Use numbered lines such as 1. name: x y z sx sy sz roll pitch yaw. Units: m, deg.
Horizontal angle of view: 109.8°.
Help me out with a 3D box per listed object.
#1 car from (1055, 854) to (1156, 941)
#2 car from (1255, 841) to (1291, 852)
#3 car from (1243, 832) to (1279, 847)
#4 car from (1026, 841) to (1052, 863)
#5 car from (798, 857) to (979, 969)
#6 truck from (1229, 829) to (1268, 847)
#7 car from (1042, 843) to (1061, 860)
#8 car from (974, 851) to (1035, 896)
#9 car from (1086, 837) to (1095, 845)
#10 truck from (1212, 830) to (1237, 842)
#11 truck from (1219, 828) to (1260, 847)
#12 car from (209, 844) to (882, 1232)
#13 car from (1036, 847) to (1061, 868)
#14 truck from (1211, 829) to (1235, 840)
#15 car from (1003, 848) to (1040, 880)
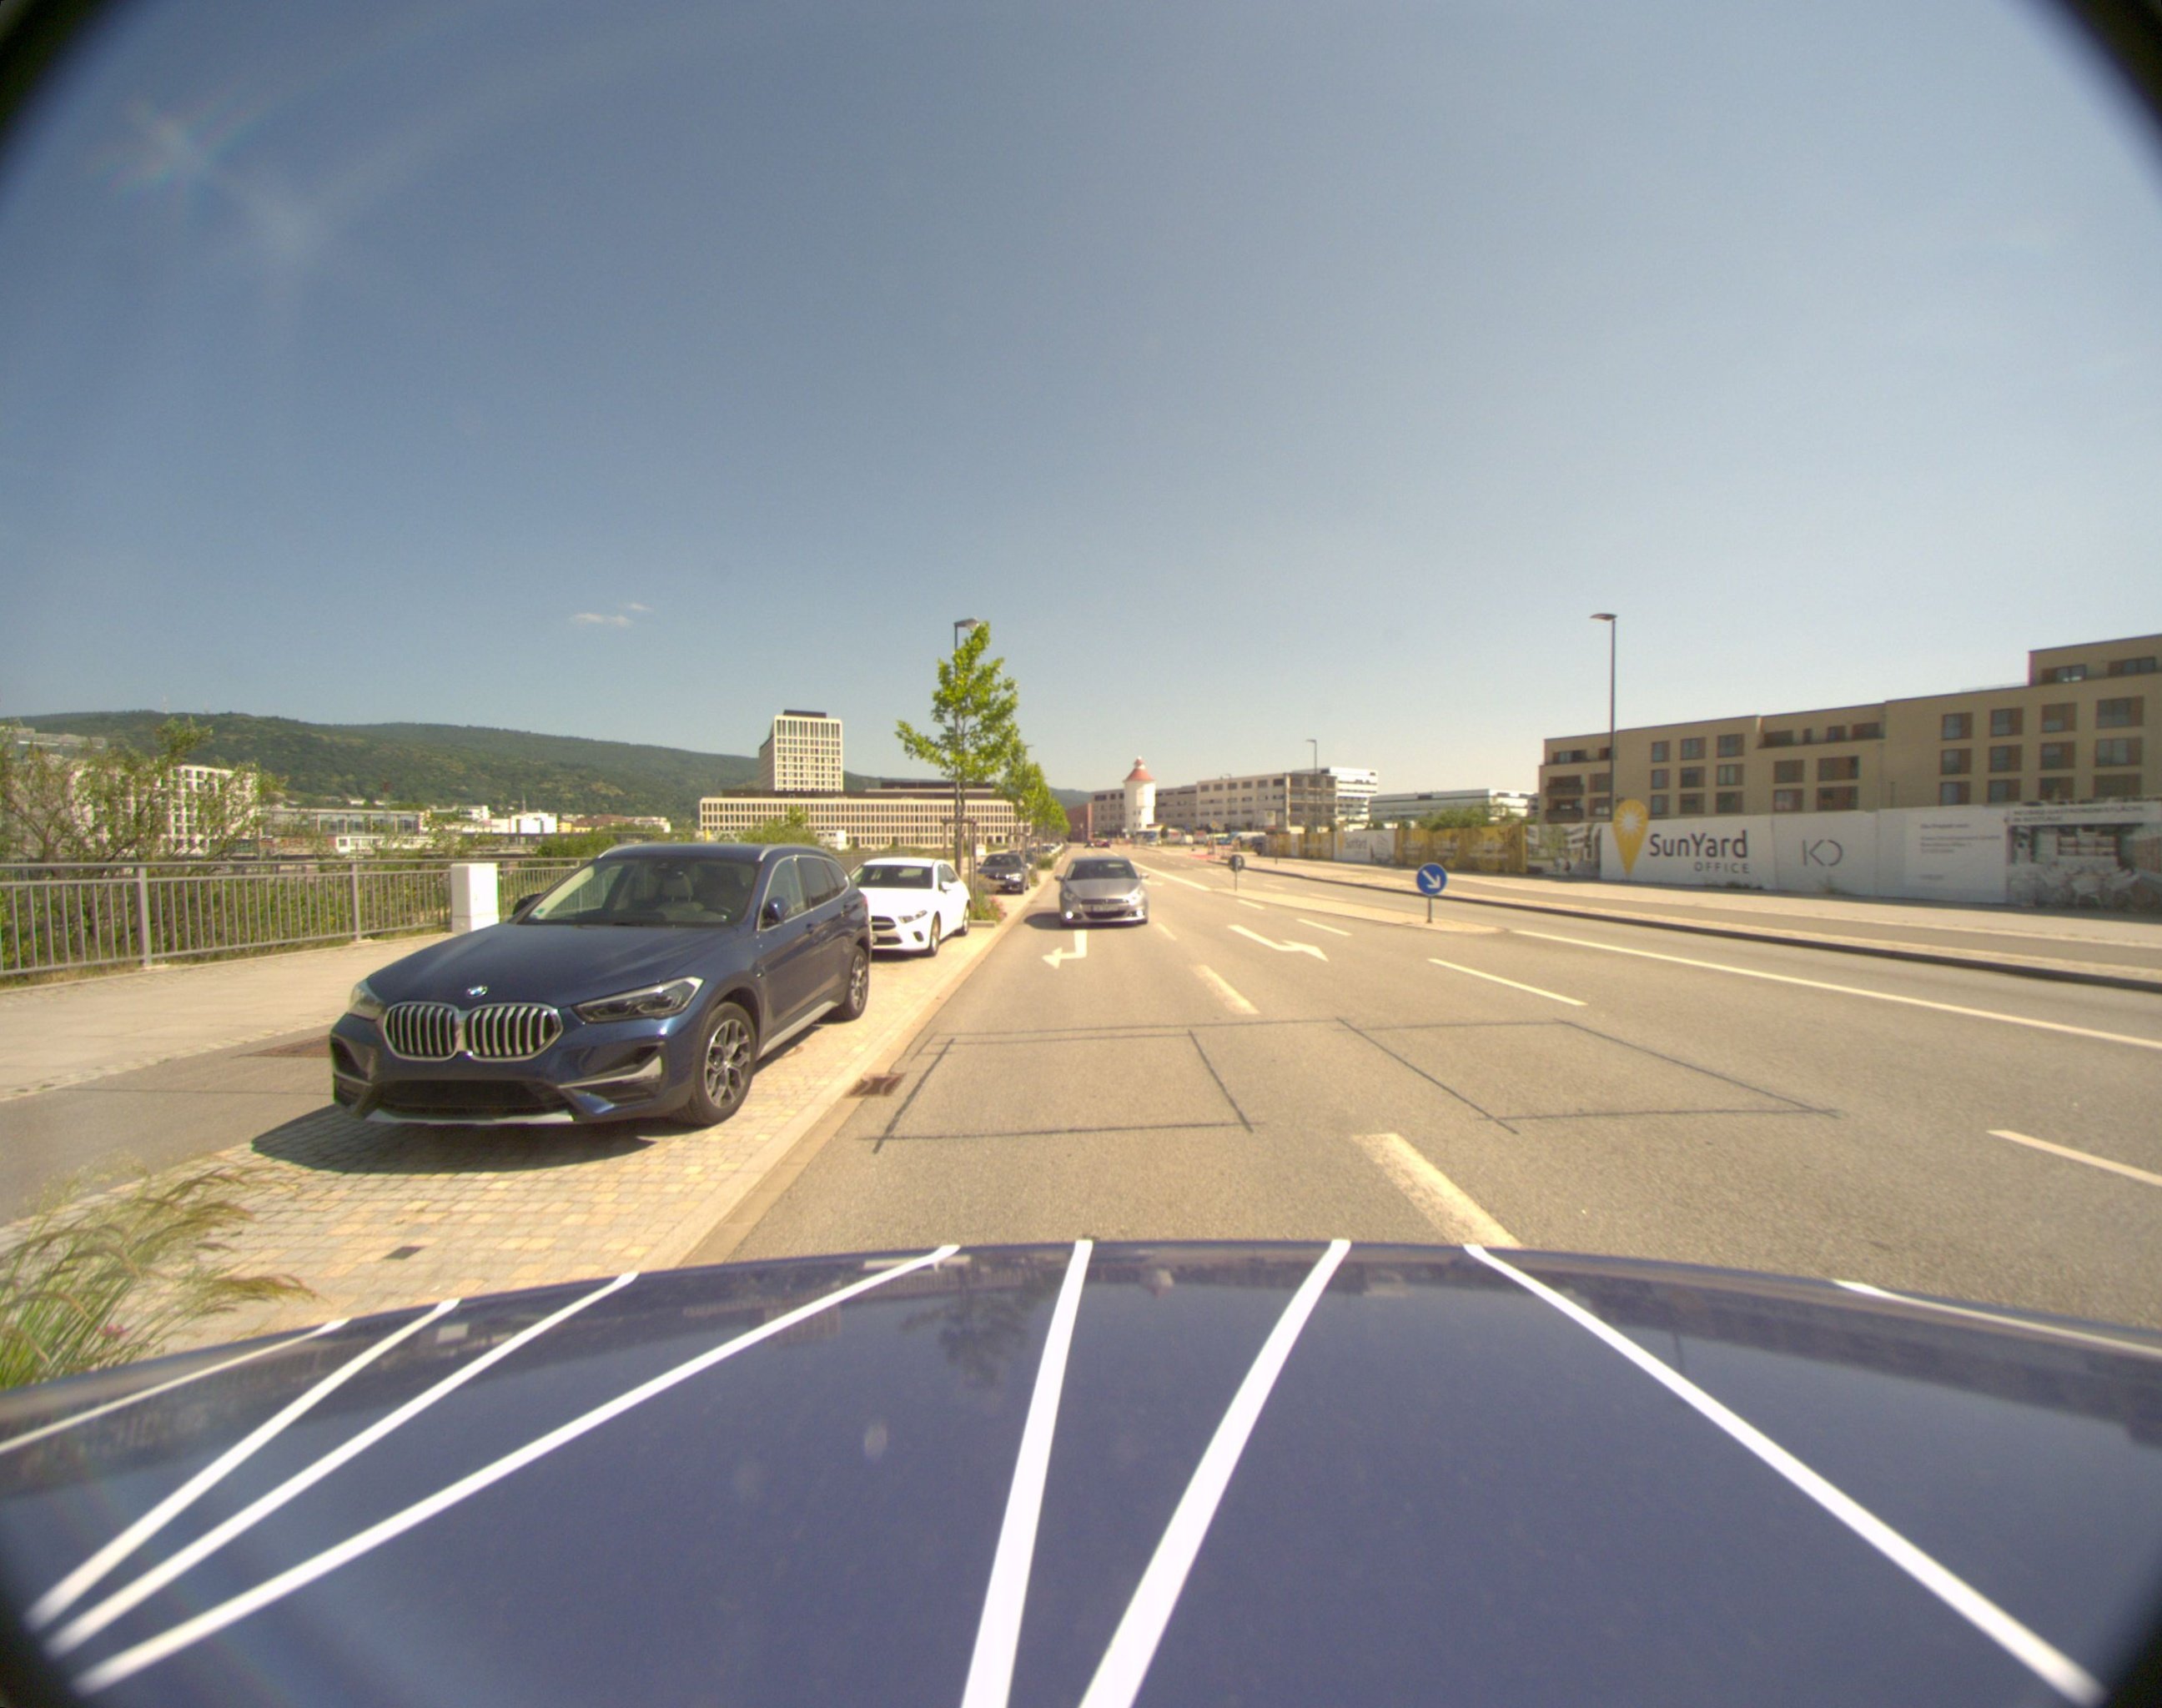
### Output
1. car: 0.485 0.805 16.295 1.820 1.459 4.346 -2 1 1
2. car: 19.679 -0.751 78.108 3.359 0.947 1.293 -2 1 3
3. car: 22.832 -1.851 96.515 3.930 1.708 1.891 -3 1 -5
4. car: -3.359 -0.163 60.943 1.768 1.609 3.374 -3 1 0
5. car: -2.910 0.817 12.485 1.710 1.366 4.270 2 1 2
6. truck: 23.316 -2.239 105.922 5.005 2.215 1.999 -2 1 -1
7. car: -2.660 -0.261 70.029 1.526 1.482 3.504 -3 1 0
8. car: -2.720 0.645 27.776 1.808 1.424 3.915 2 1 0
9. car: 2.034 -2.757 161.353 1.819 1.458 4.347 -3 1 2
10. truck: 33.423 -4.159 177.266 5.333 2.461 1.999 -3 1 -4
11. truck: 23.586 -2.436 113.200 5.633 2.461 1.999 -3 1 -4
12. car: -2.909 0.787 5.479 1.808 1.674 4.270 1 1 0
13. car: -2.164 0.235 50.716 1.490 1.302 3.154 2 1 0
14. truck: 34.639 -4.666 185.303 5.412 2.461 1.999 -2 1 -2
15. car: -2.944 0.473 37.857 1.569 1.465 3.006 2 1 0
